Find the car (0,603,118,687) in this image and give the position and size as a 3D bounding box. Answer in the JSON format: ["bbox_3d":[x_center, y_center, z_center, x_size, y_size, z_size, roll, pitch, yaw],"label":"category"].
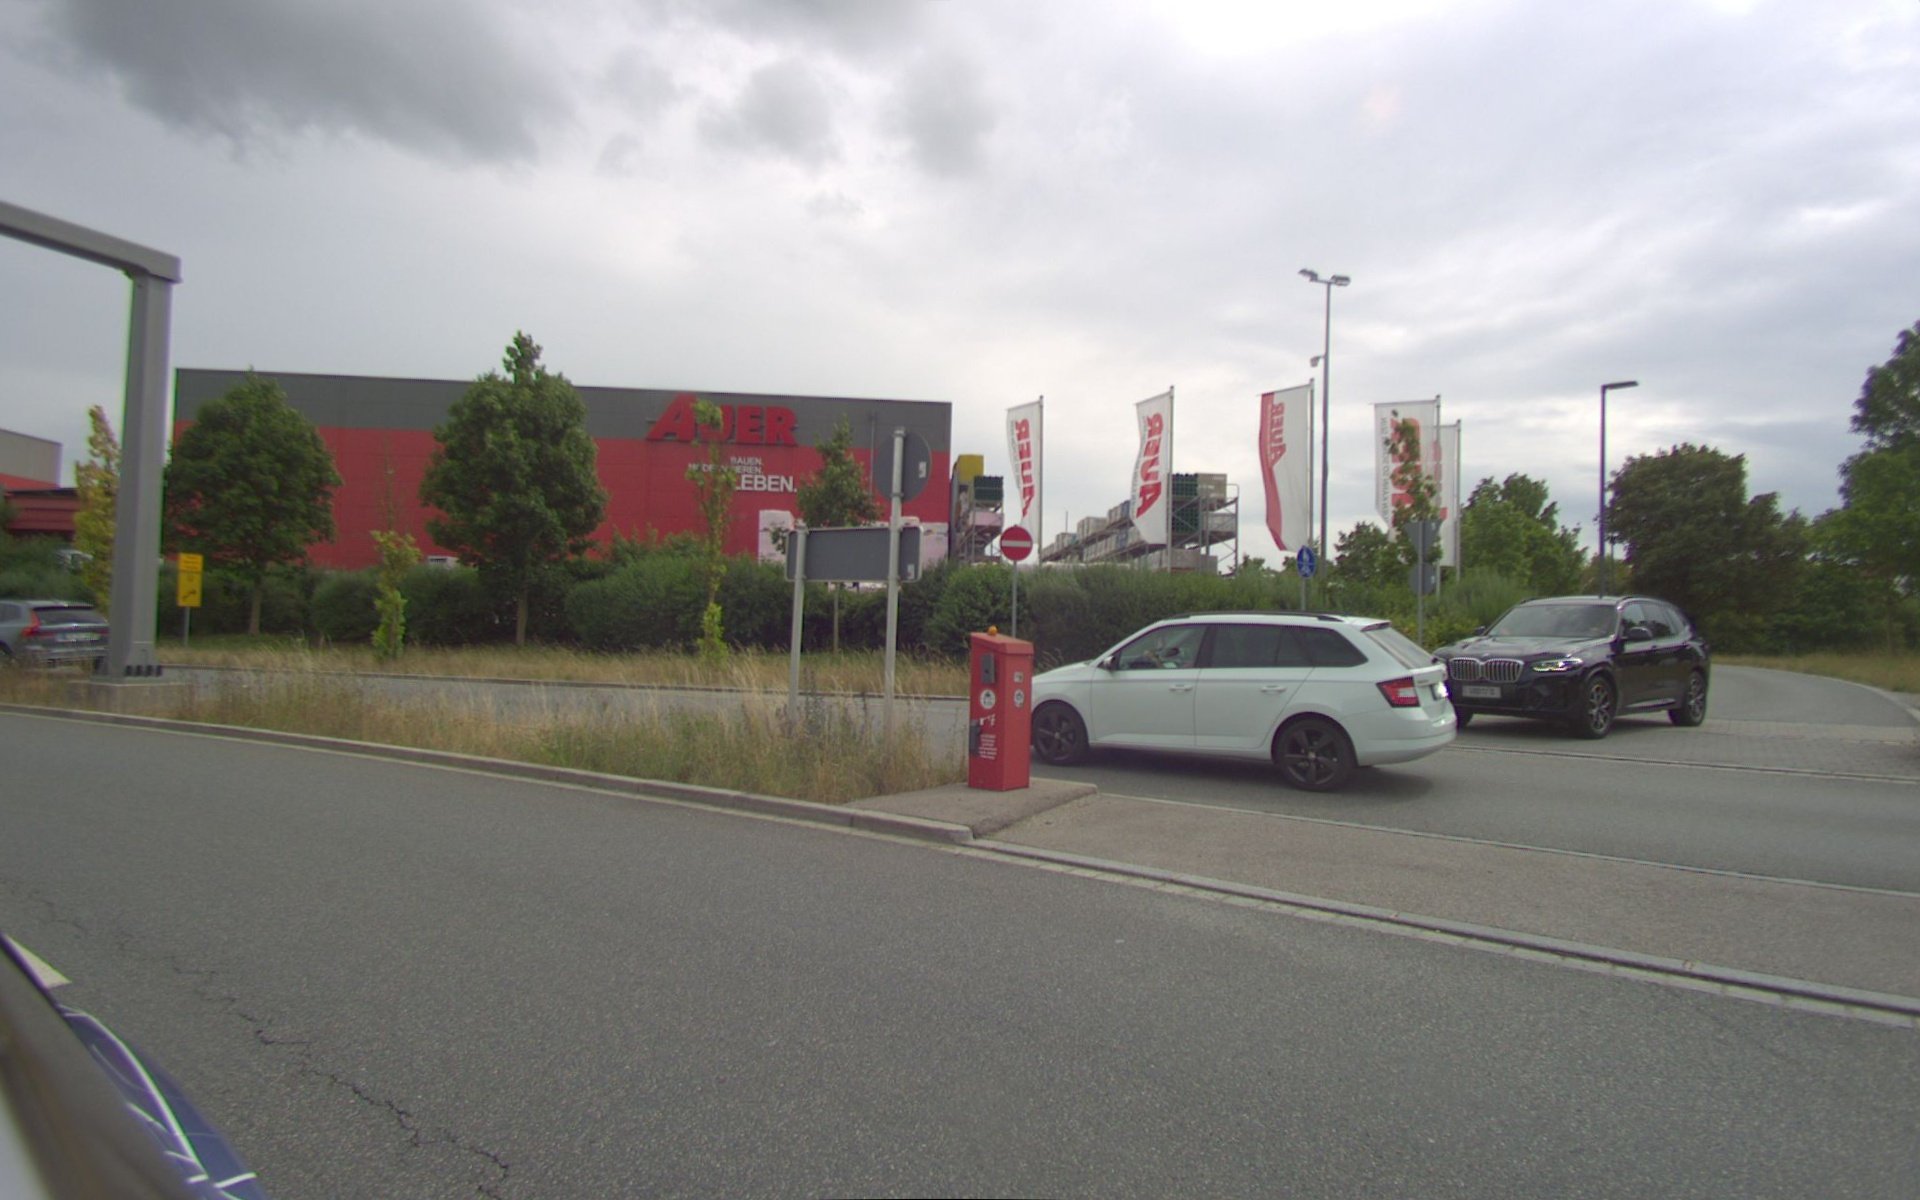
[{"bbox_3d":[-20.648,0.911,21.763,4.651,1.642,1.803,0,0,20],"label":"car"}]

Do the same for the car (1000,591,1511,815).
[{"bbox_3d":[2.619,0.788,9.466,4.259,1.647,1.699,-1,0,36],"label":"car"}]

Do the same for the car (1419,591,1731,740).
[{"bbox_3d":[7.768,0.740,12.669,4.185,1.561,1.878,1,-2,-36],"label":"car"}]
